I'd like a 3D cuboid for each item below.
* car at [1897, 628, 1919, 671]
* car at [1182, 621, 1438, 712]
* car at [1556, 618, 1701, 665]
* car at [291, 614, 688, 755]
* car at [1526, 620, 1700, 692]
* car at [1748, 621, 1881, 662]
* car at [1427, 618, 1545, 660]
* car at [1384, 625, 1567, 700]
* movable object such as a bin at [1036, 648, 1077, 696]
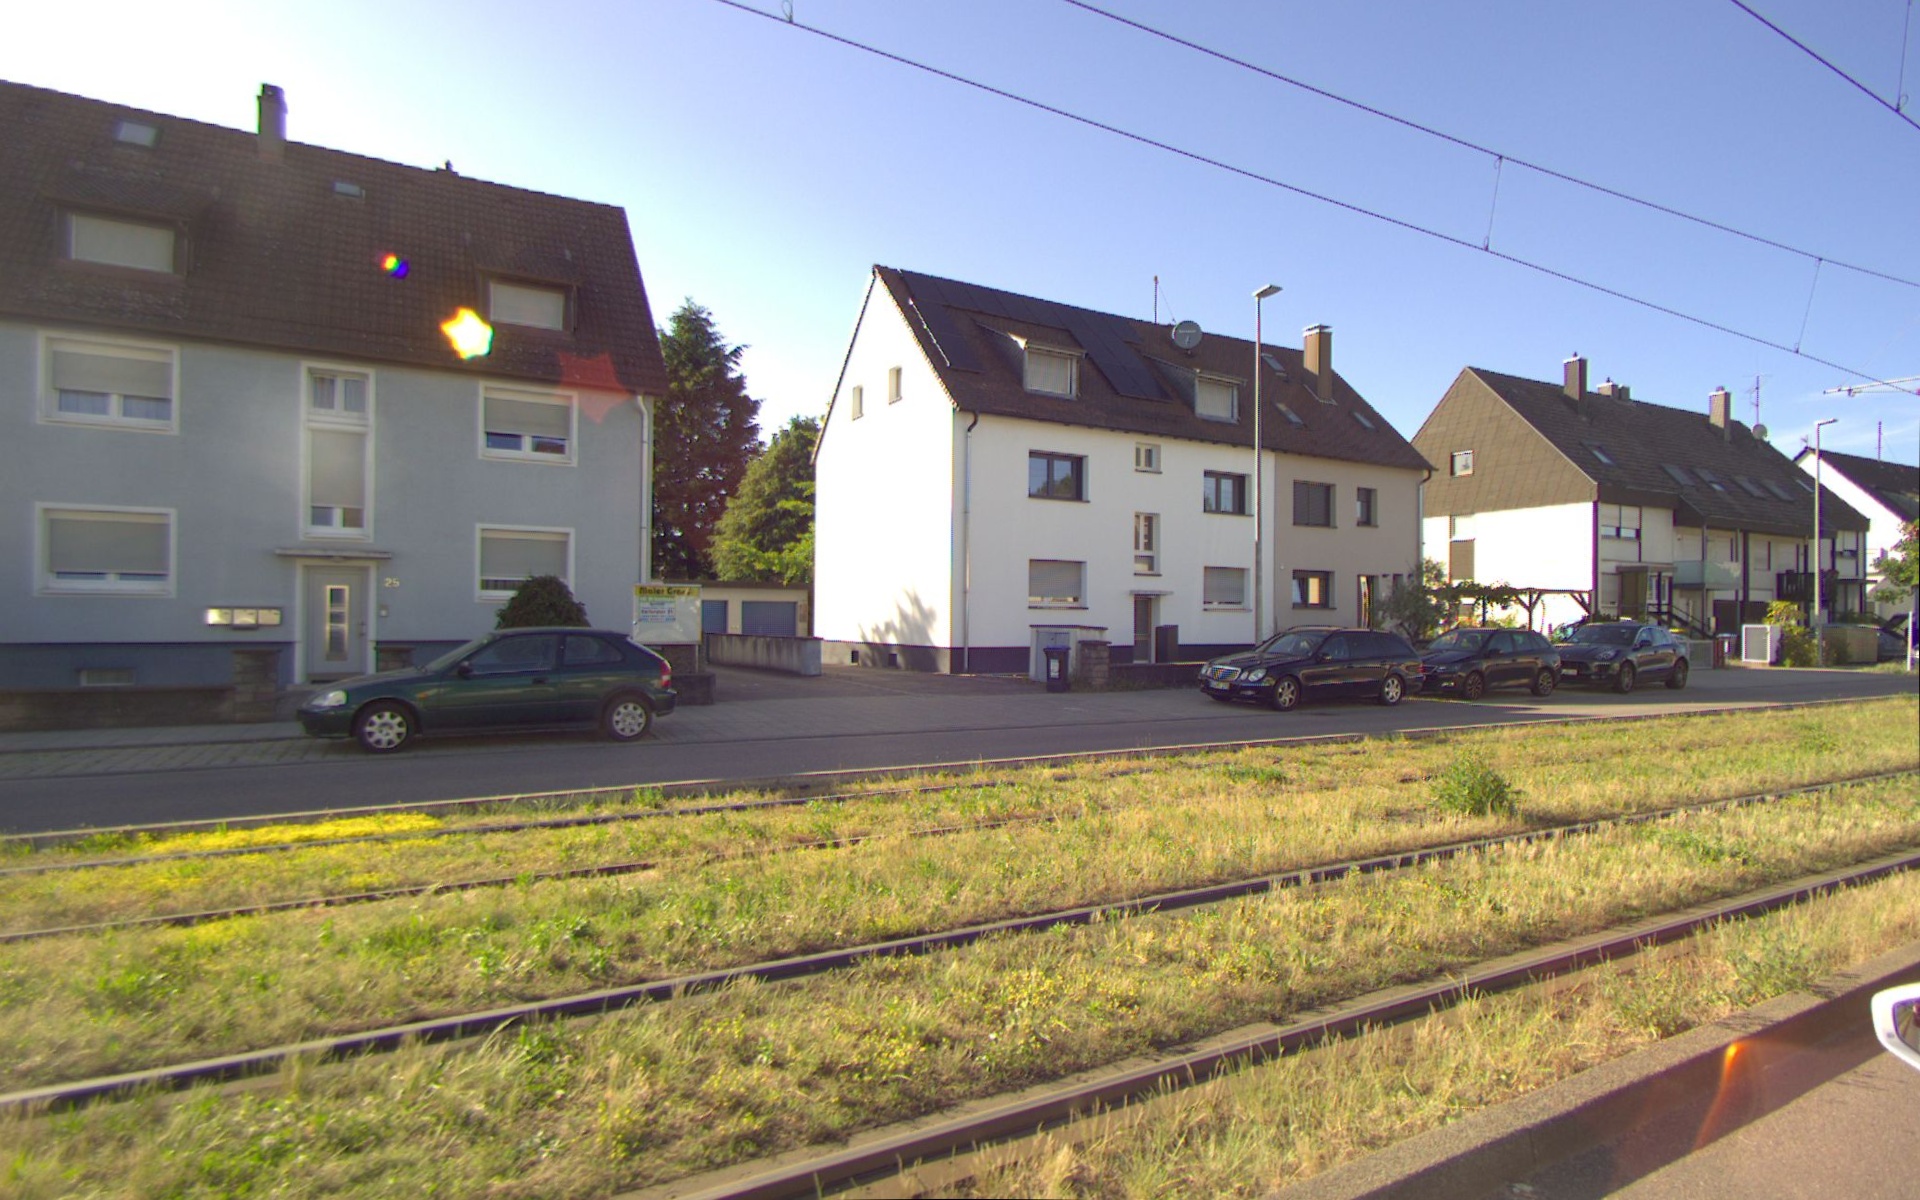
[{"bbox_3d":[34.511,1.711,34.870,3.667,1.472,1.614,1,-1,-25],"label":"car"},{"bbox_3d":[6.781,1.228,19.370,4.817,1.543,1.870,1,-1,-27],"label":"car"},{"bbox_3d":[24.686,1.484,37.223,1.740,1.638,4.142,1,-1,-32],"label":"car"},{"bbox_3d":[-5.609,0.926,12.292,4.115,1.482,1.783,1,-1,-29],"label":"car"},{"bbox_3d":[16.032,1.299,24.591,4.759,1.618,1.793,1,-1,-33],"label":"car"},{"bbox_3d":[34.823,1.660,41.025,1.718,1.589,3.875,1,-2,-36],"label":"car"},{"bbox_3d":[21.885,1.585,41.960,1.832,1.676,4.145,1,-1,-26],"label":"car"},{"bbox_3d":[11.280,1.303,21.914,4.149,1.494,1.514,1,-1,-29],"label":"car"},{"bbox_3d":[1.916,1.434,20.007,0.696,0.939,0.386,3,-2,-31],"label":"movable object such as a bin"}]
